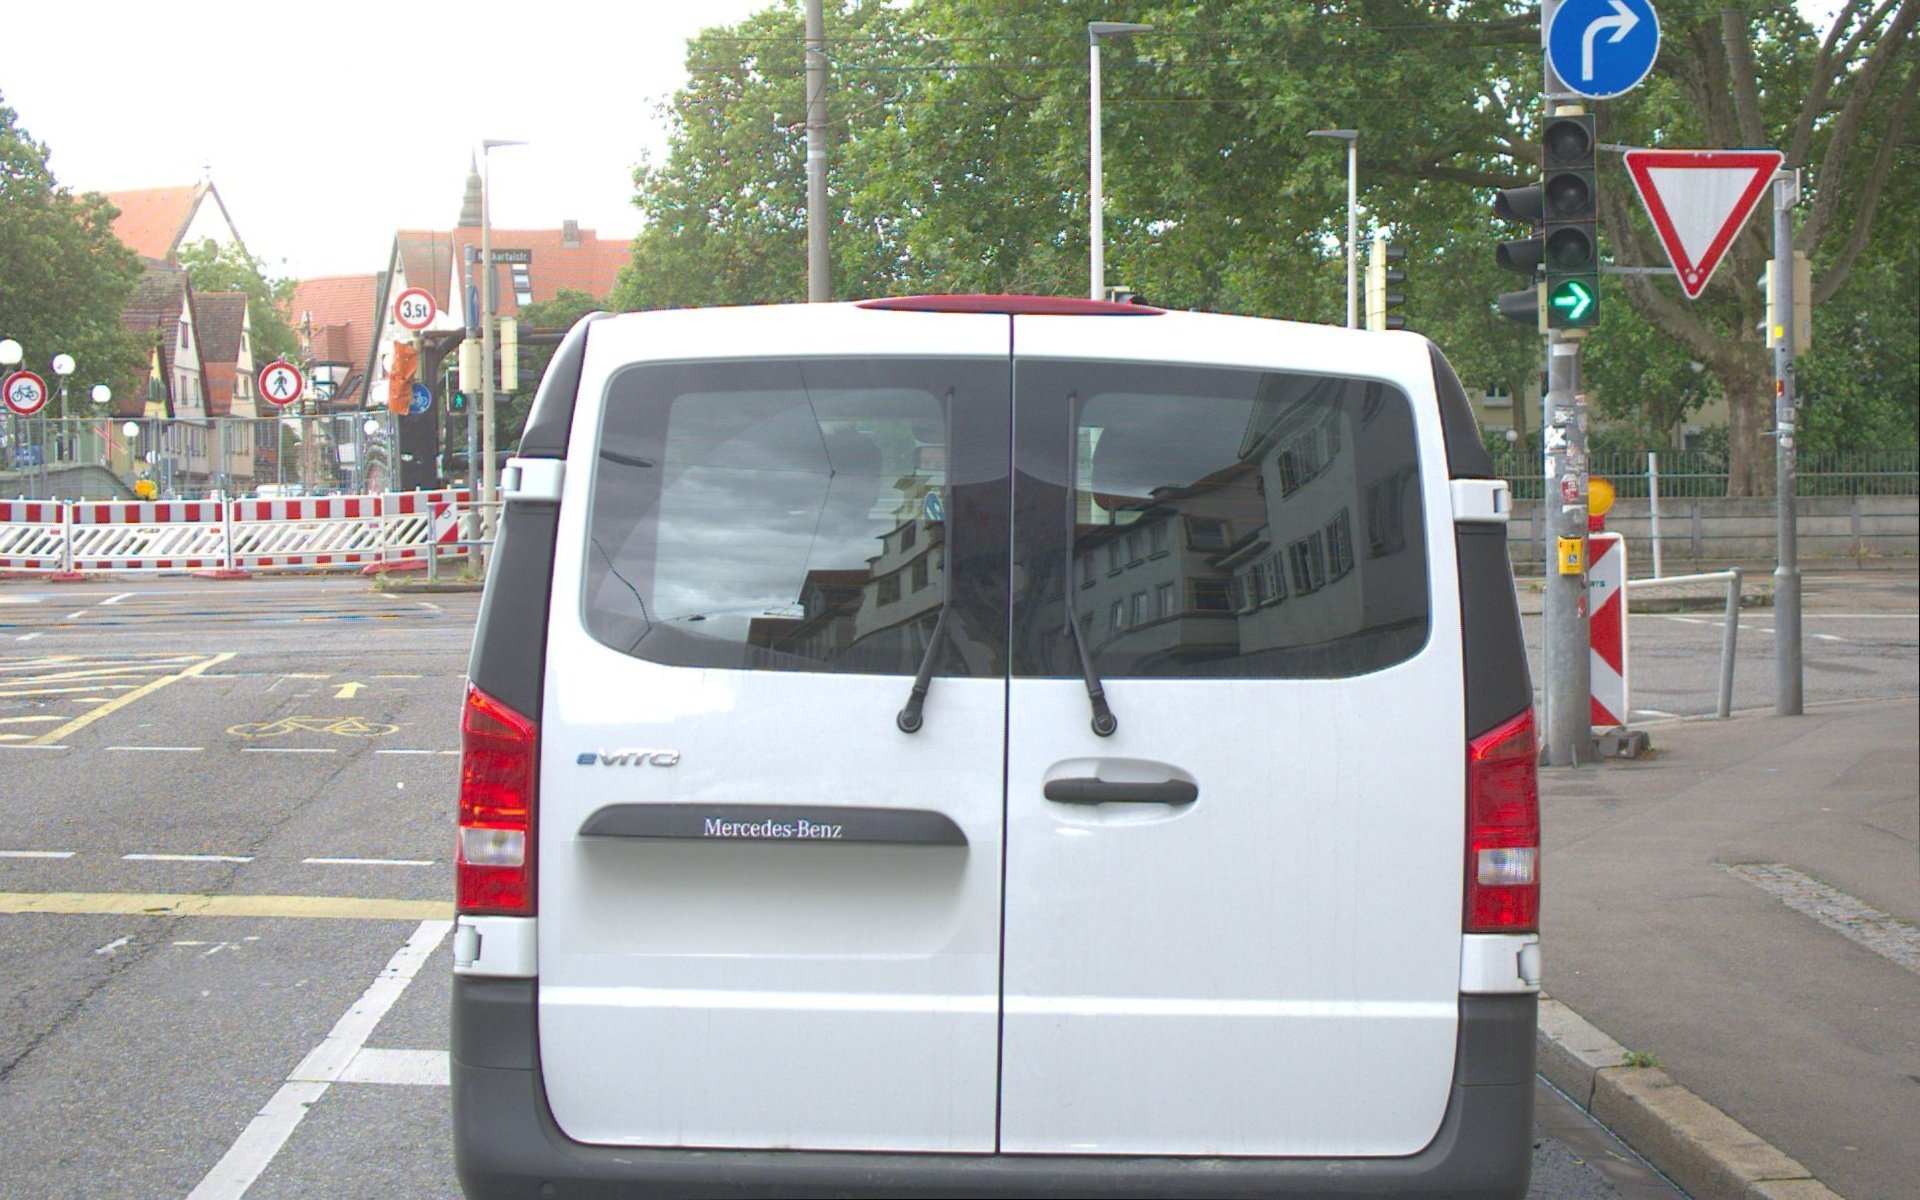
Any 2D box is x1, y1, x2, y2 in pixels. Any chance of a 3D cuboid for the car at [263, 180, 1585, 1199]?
[{"bbox_3d":[-0.087,0.295,7.483,1.951,2.006,4.699,1,2,-1],"label":"car"}]
